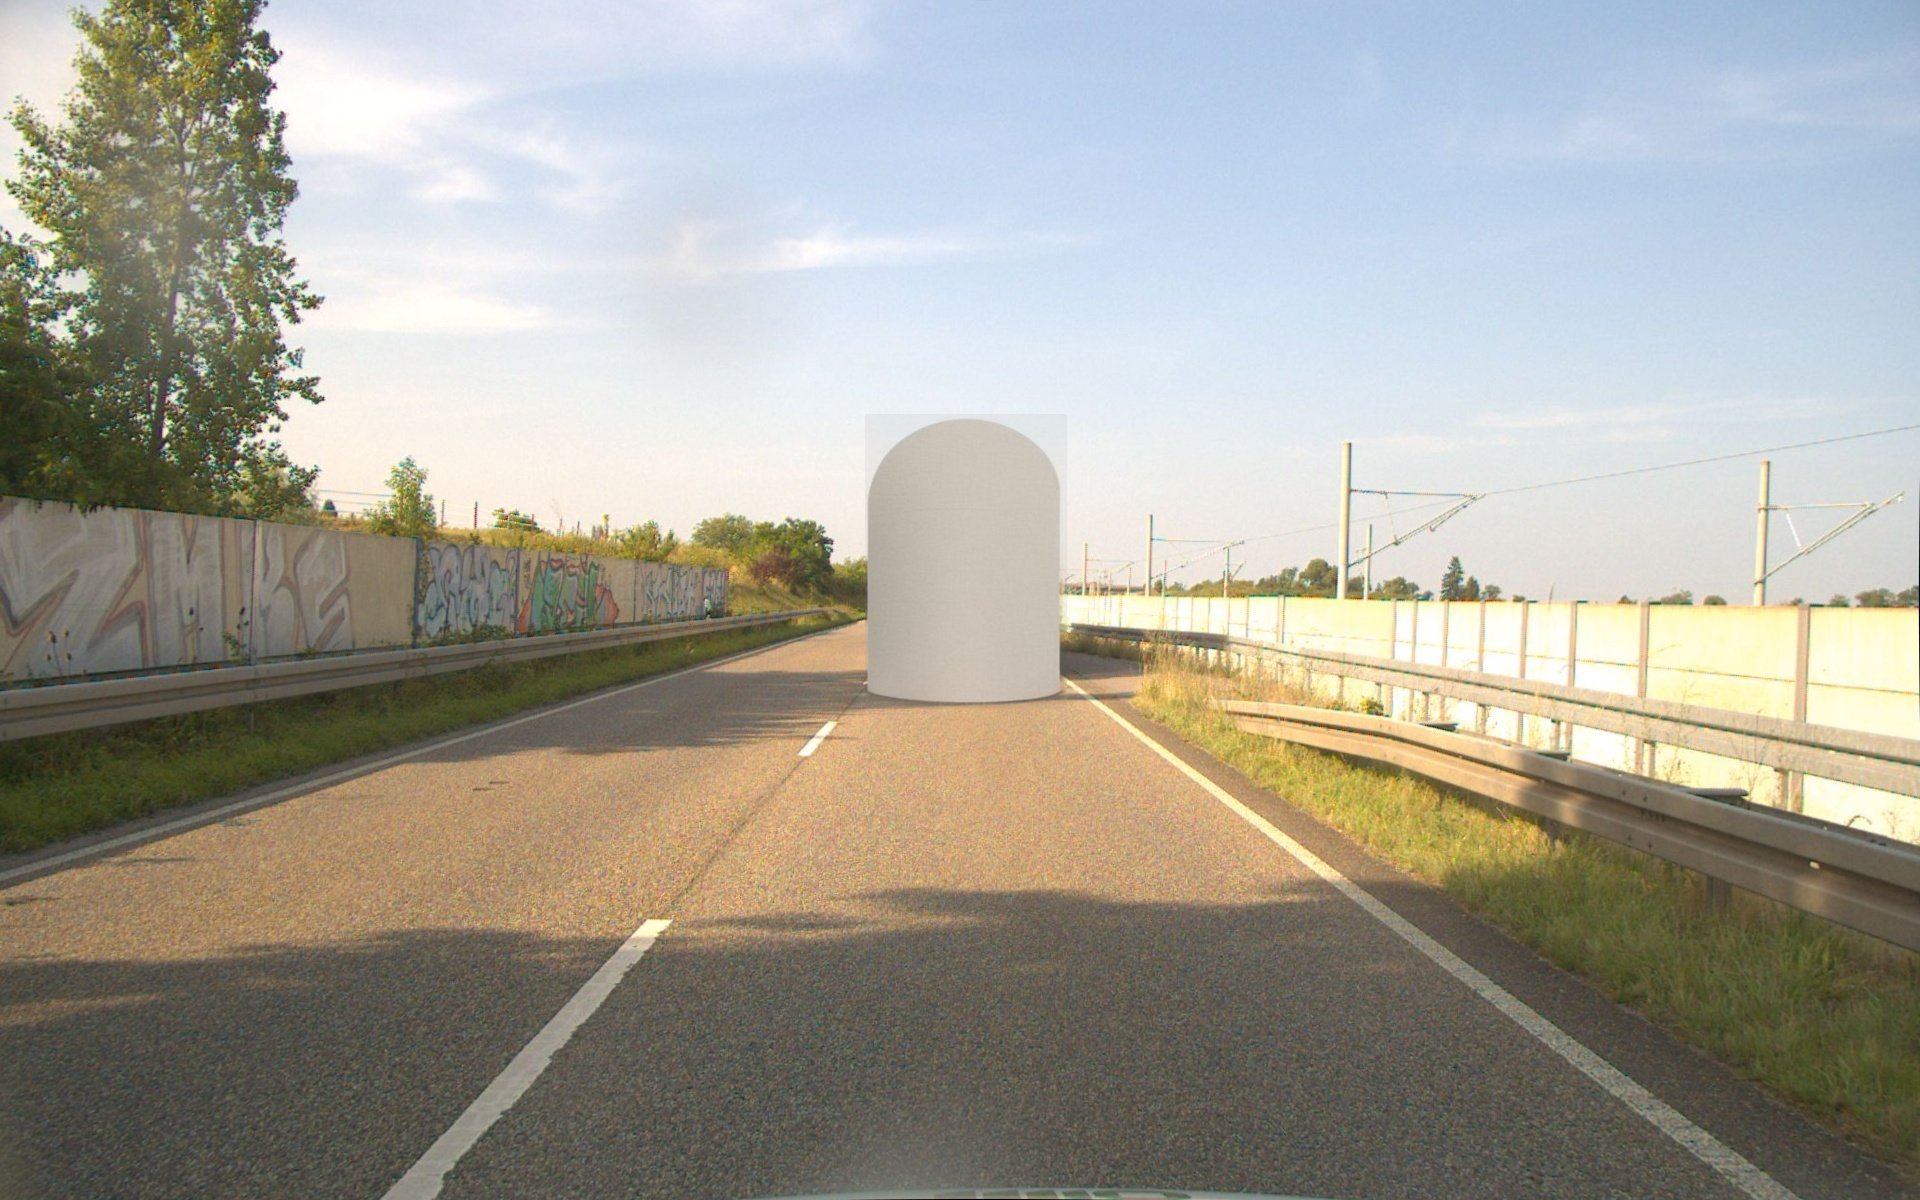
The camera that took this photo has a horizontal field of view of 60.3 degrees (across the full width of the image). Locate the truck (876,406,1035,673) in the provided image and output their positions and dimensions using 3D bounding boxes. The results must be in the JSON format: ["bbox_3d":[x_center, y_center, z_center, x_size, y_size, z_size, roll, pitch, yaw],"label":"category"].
[{"bbox_3d":[-0.218,-1.208,36.828,2.971,5.006,11.681,0,1,-1],"label":"truck"}]
